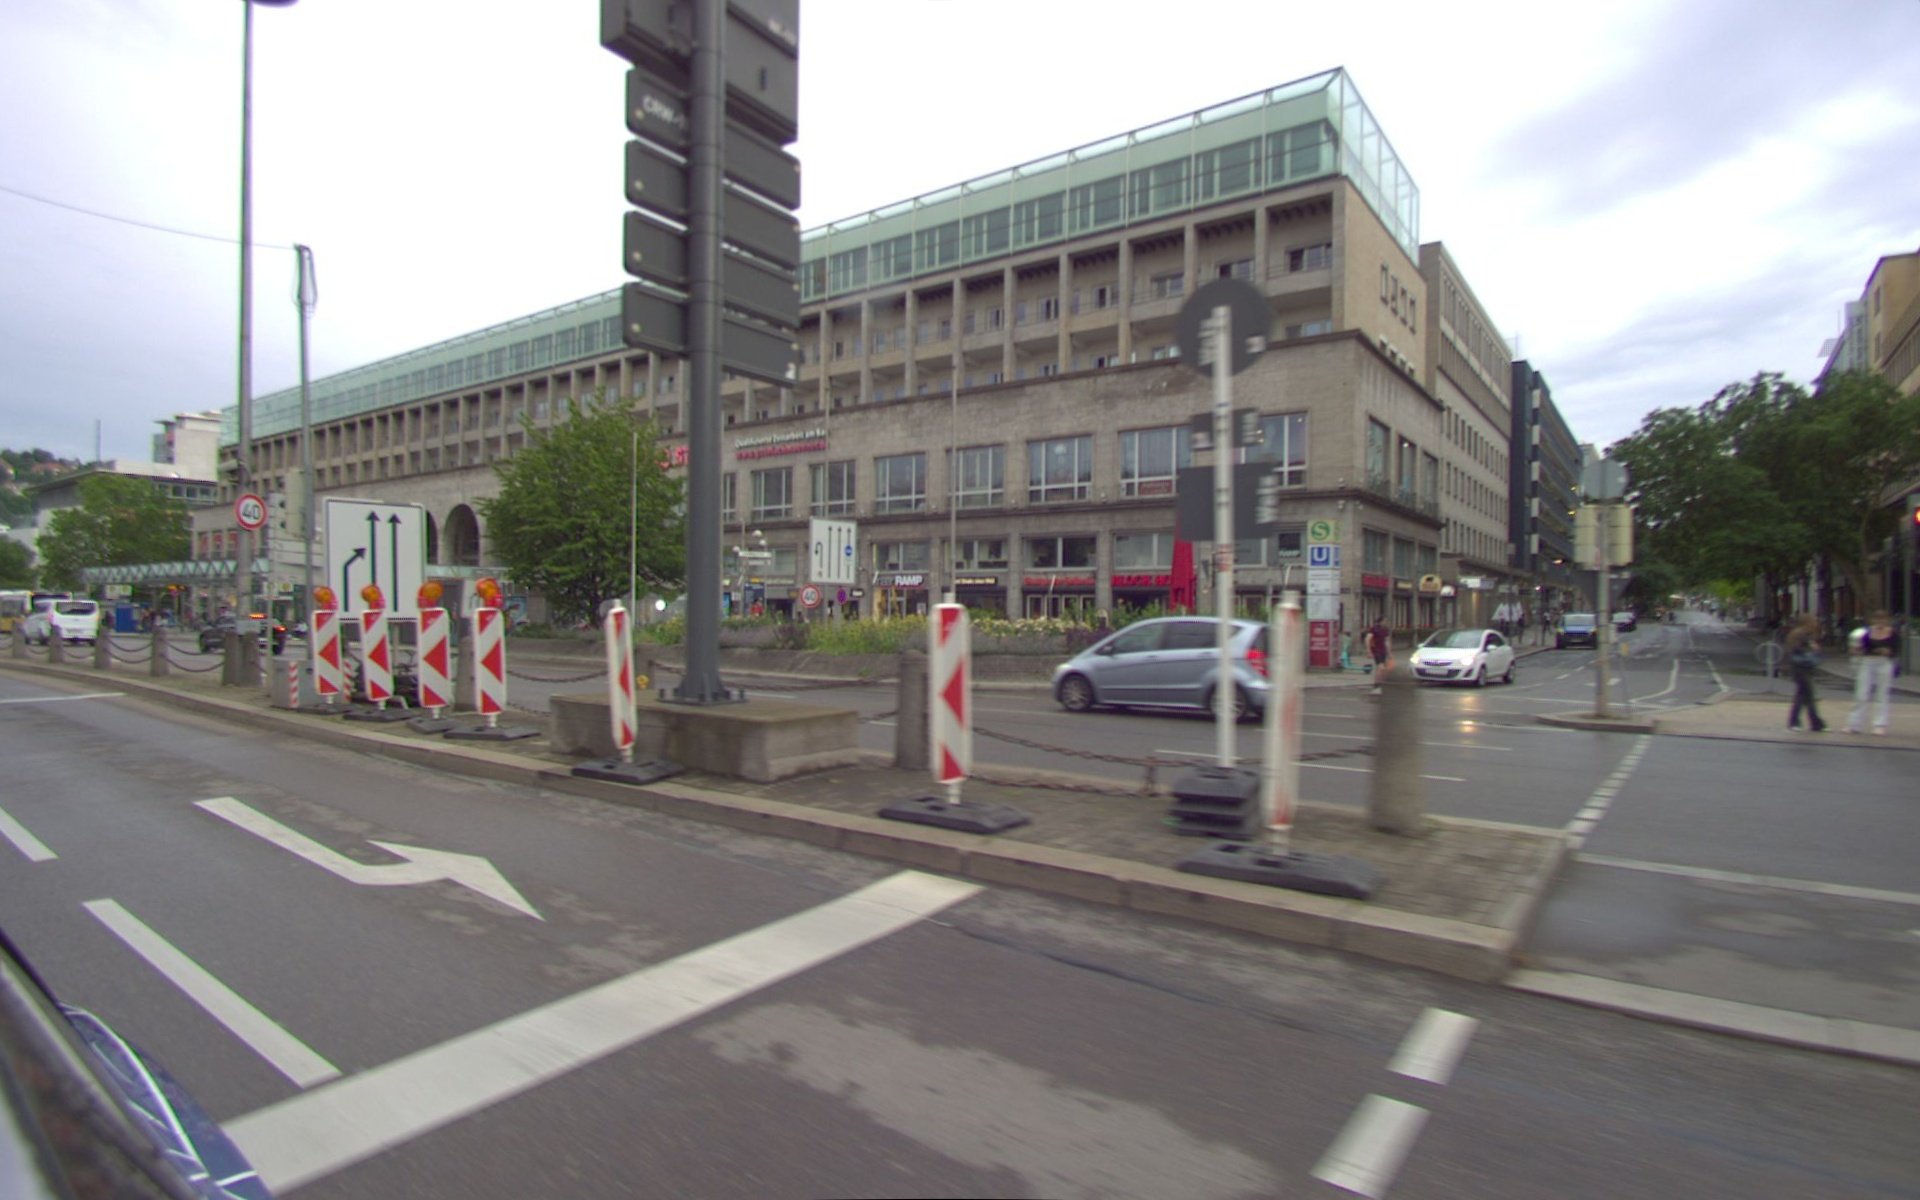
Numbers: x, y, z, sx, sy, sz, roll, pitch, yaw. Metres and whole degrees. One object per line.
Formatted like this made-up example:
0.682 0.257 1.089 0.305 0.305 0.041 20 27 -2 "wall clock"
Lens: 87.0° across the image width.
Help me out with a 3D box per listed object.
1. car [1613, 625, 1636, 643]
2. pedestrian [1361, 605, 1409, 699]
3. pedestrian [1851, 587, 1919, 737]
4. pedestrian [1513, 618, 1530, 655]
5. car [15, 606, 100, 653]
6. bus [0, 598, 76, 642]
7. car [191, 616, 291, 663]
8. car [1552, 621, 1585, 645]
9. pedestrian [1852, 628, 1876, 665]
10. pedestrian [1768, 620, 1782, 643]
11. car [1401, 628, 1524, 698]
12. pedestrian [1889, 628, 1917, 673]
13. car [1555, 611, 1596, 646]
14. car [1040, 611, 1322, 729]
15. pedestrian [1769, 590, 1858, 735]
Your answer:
59.226 3.021 90.225 1.626 1.618 3.584 -1 -2 31 "car"
9.337 1.133 22.245 0.806 2.029 0.696 -1 -2 38 "pedestrian"
12.444 0.813 13.502 0.751 1.939 0.584 -1 -2 37 "pedestrian"
31.280 2.044 56.369 0.704 2.029 0.797 -1 -2 36 "pedestrian"
-40.000 1.321 44.841 3.993 1.988 2.013 -1 -2 37 "car"
-66.992 1.468 72.732 9.800 2.963 2.876 -1 -2 35 "bus"
-27.195 1.470 38.248 3.991 1.697 1.865 -1 -2 35 "car"
42.270 2.292 70.302 1.792 1.574 4.037 -1 -2 33 "car"
34.779 1.786 38.943 0.600 1.375 0.693 -1 1 34 "pedestrian"
47.945 1.852 59.508 0.564 1.308 0.617 -1 1 34 "pedestrian"
13.011 1.563 26.097 1.806 1.652 4.037 -1 -2 42 "car"
30.031 1.590 32.229 0.601 1.375 0.692 -1 1 39 "pedestrian"
32.539 1.499 53.474 1.791 1.741 4.039 -1 -2 32 "car"
3.403 1.018 15.915 3.993 1.634 1.738 -1 -2 37 "car"
11.783 0.850 13.985 0.705 1.939 0.593 1 -2 -12 "pedestrian"
